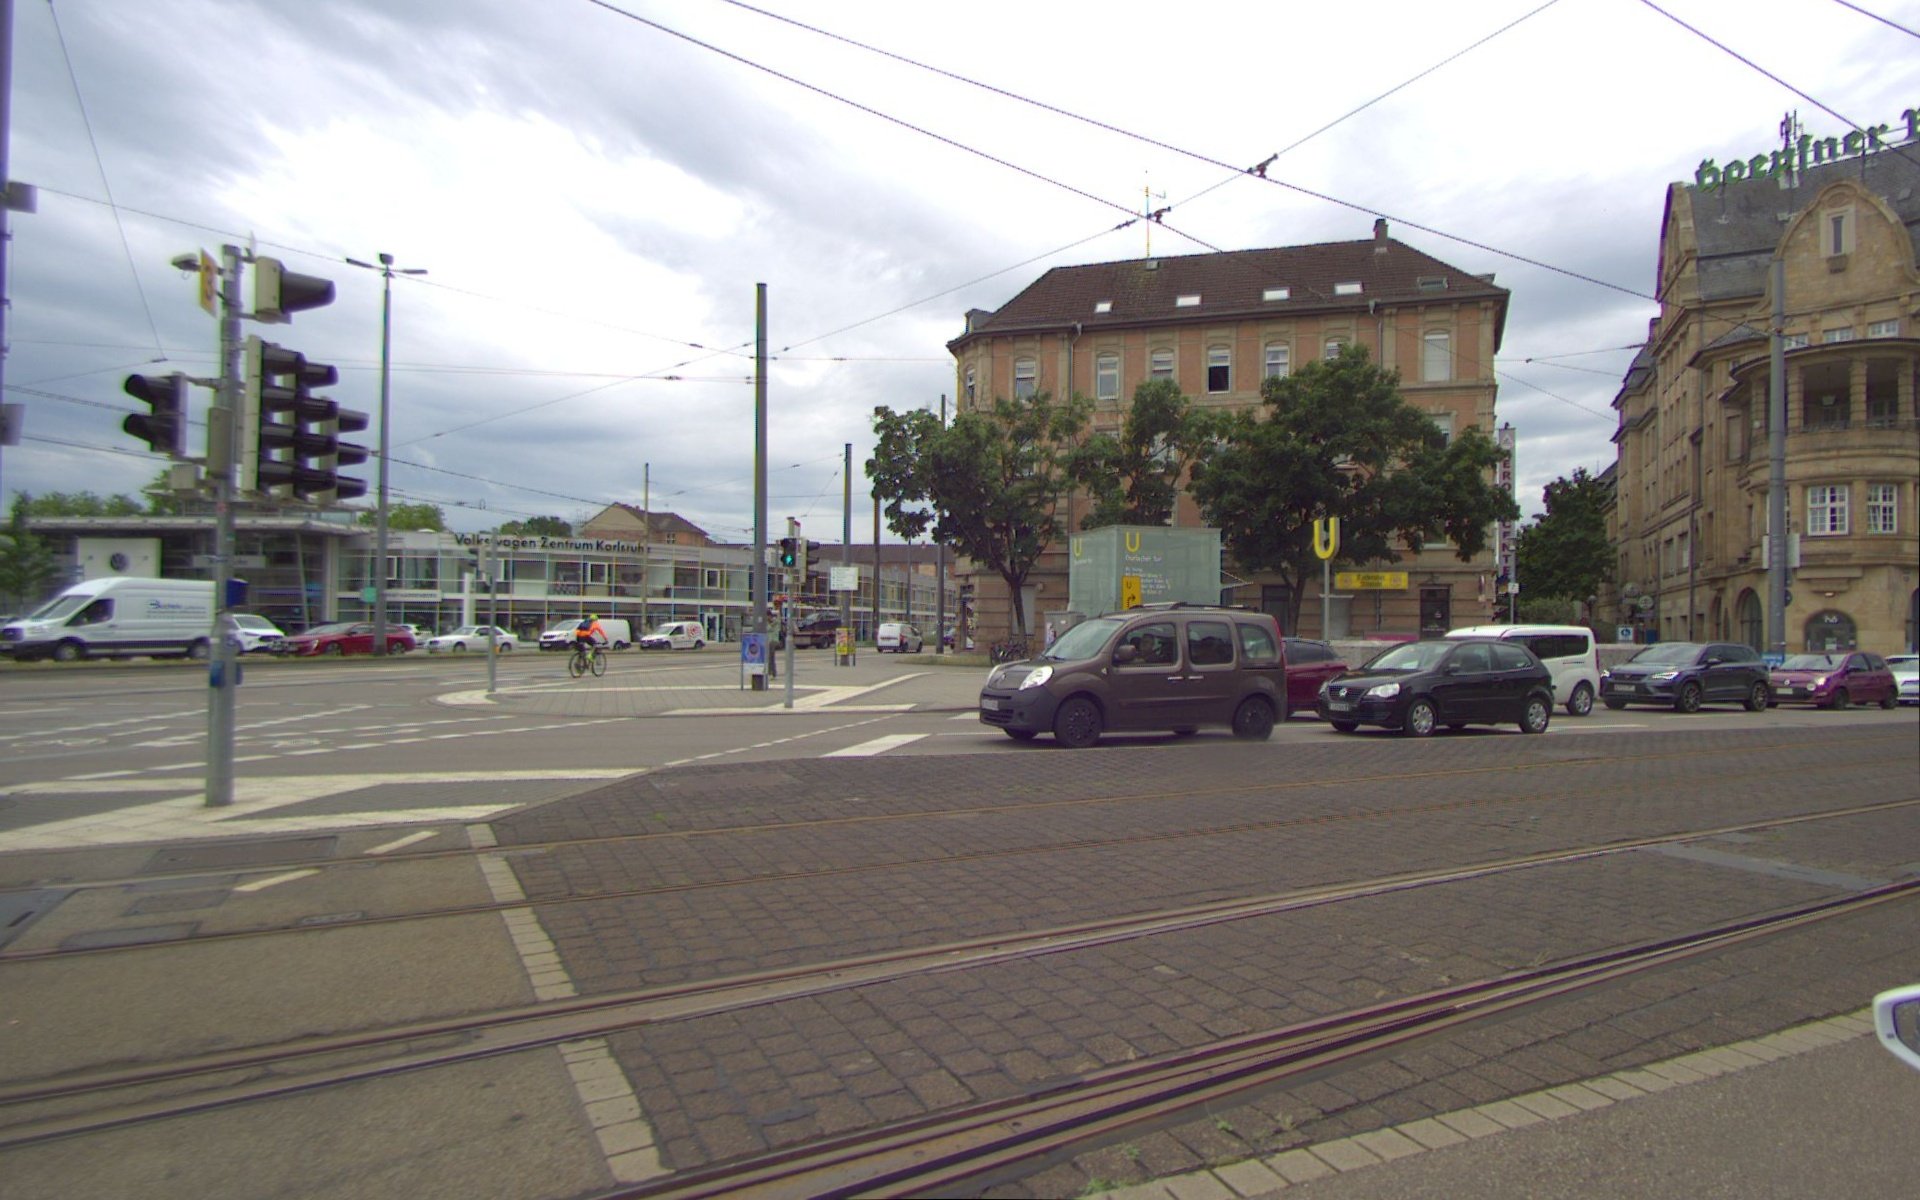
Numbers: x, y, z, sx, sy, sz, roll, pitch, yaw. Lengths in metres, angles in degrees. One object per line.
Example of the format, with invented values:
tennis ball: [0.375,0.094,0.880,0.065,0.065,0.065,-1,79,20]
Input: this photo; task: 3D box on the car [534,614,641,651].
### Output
car: [-20.069,1.778,54.412,2.123,1.881,5.442,0,-2,26]

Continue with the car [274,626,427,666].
car: [-23.463,1.737,38.866,1.962,1.439,4.799,0,-2,24]

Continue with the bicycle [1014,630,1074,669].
bicycle: [3.166,1.860,37.501,0.943,1.372,3.115,1,-2,30]

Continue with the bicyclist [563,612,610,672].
bicyclist: [-10.488,1.174,28.247,0.813,1.642,1.321,1,-1,-2]

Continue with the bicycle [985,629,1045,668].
bicycle: [2.125,1.840,37.977,0.943,1.372,3.115,1,-2,30]

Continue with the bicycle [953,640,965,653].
bicycle: [-0.037,2.934,63.962,0.608,0.804,1.593,1,-2,5]

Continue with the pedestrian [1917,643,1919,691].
pedestrian: [35.040,2.417,36.289,0.529,1.742,0.625,2,-2,-42]

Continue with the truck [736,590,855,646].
truck: [-11.360,1.358,70.470,2.754,3.596,9.204,1,-2,32]

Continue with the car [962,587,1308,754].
car: [2.341,0.895,13.289,4.326,1.925,1.684,2,-2,-24]

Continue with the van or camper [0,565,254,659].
van or camper: [-26.123,0.452,31.662,2.374,2.645,6.055,1,-2,17]

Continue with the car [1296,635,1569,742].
car: [7.308,1.313,15.513,3.945,1.461,1.684,2,-2,-24]

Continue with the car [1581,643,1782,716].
car: [16.741,1.811,23.302,4.241,1.554,1.859,2,-3,-23]

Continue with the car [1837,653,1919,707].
car: [26.601,2.201,28.003,4.306,1.397,1.741,2,-4,-27]

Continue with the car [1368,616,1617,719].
car: [11.108,1.365,20.913,5.029,1.941,1.859,2,-2,-23]

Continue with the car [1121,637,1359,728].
car: [4.996,1.423,17.895,3.945,1.461,1.684,2,-2,-24]

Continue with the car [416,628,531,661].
car: [-23.177,2.102,48.015,1.963,1.439,4.746,0,-2,26]

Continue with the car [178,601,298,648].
car: [-34.073,1.171,47.452,4.686,2.040,2.122,1,-2,17]

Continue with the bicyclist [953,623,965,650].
bicyclist: [-0.061,2.337,63.961,0.676,1.730,0.799,1,-1,5]

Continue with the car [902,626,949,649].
car: [-2.852,3.115,83.906,1.964,1.863,4.516,0,-2,28]

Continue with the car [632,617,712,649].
car: [-17.262,1.969,60.403,1.964,1.863,4.516,0,-2,28]

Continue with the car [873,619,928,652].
car: [-3.640,2.203,62.294,1.881,1.966,4.131,0,-2,21]

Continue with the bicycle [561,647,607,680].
bicycle: [-10.525,1.756,28.195,0.547,0.859,2.073,1,-2,-2]

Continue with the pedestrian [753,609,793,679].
pedestrian: [-4.769,1.121,25.682,0.894,1.750,0.602,1,-1,-2]

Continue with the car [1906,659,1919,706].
car: [30.872,2.527,30.359,4.200,1.398,1.921,2,-2,-25]

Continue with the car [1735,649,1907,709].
car: [21.857,1.982,25.508,3.842,1.417,1.858,2,-4,-25]

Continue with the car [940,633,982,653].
car: [0.084,3.216,75.465,1.960,1.439,4.001,0,-2,19]

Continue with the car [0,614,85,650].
car: [-55.869,1.942,60.833,1.960,2.040,4.003,2,-2,5]

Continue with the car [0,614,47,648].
car: [-58.635,1.863,61.291,1.960,2.040,4.003,2,-2,5]
